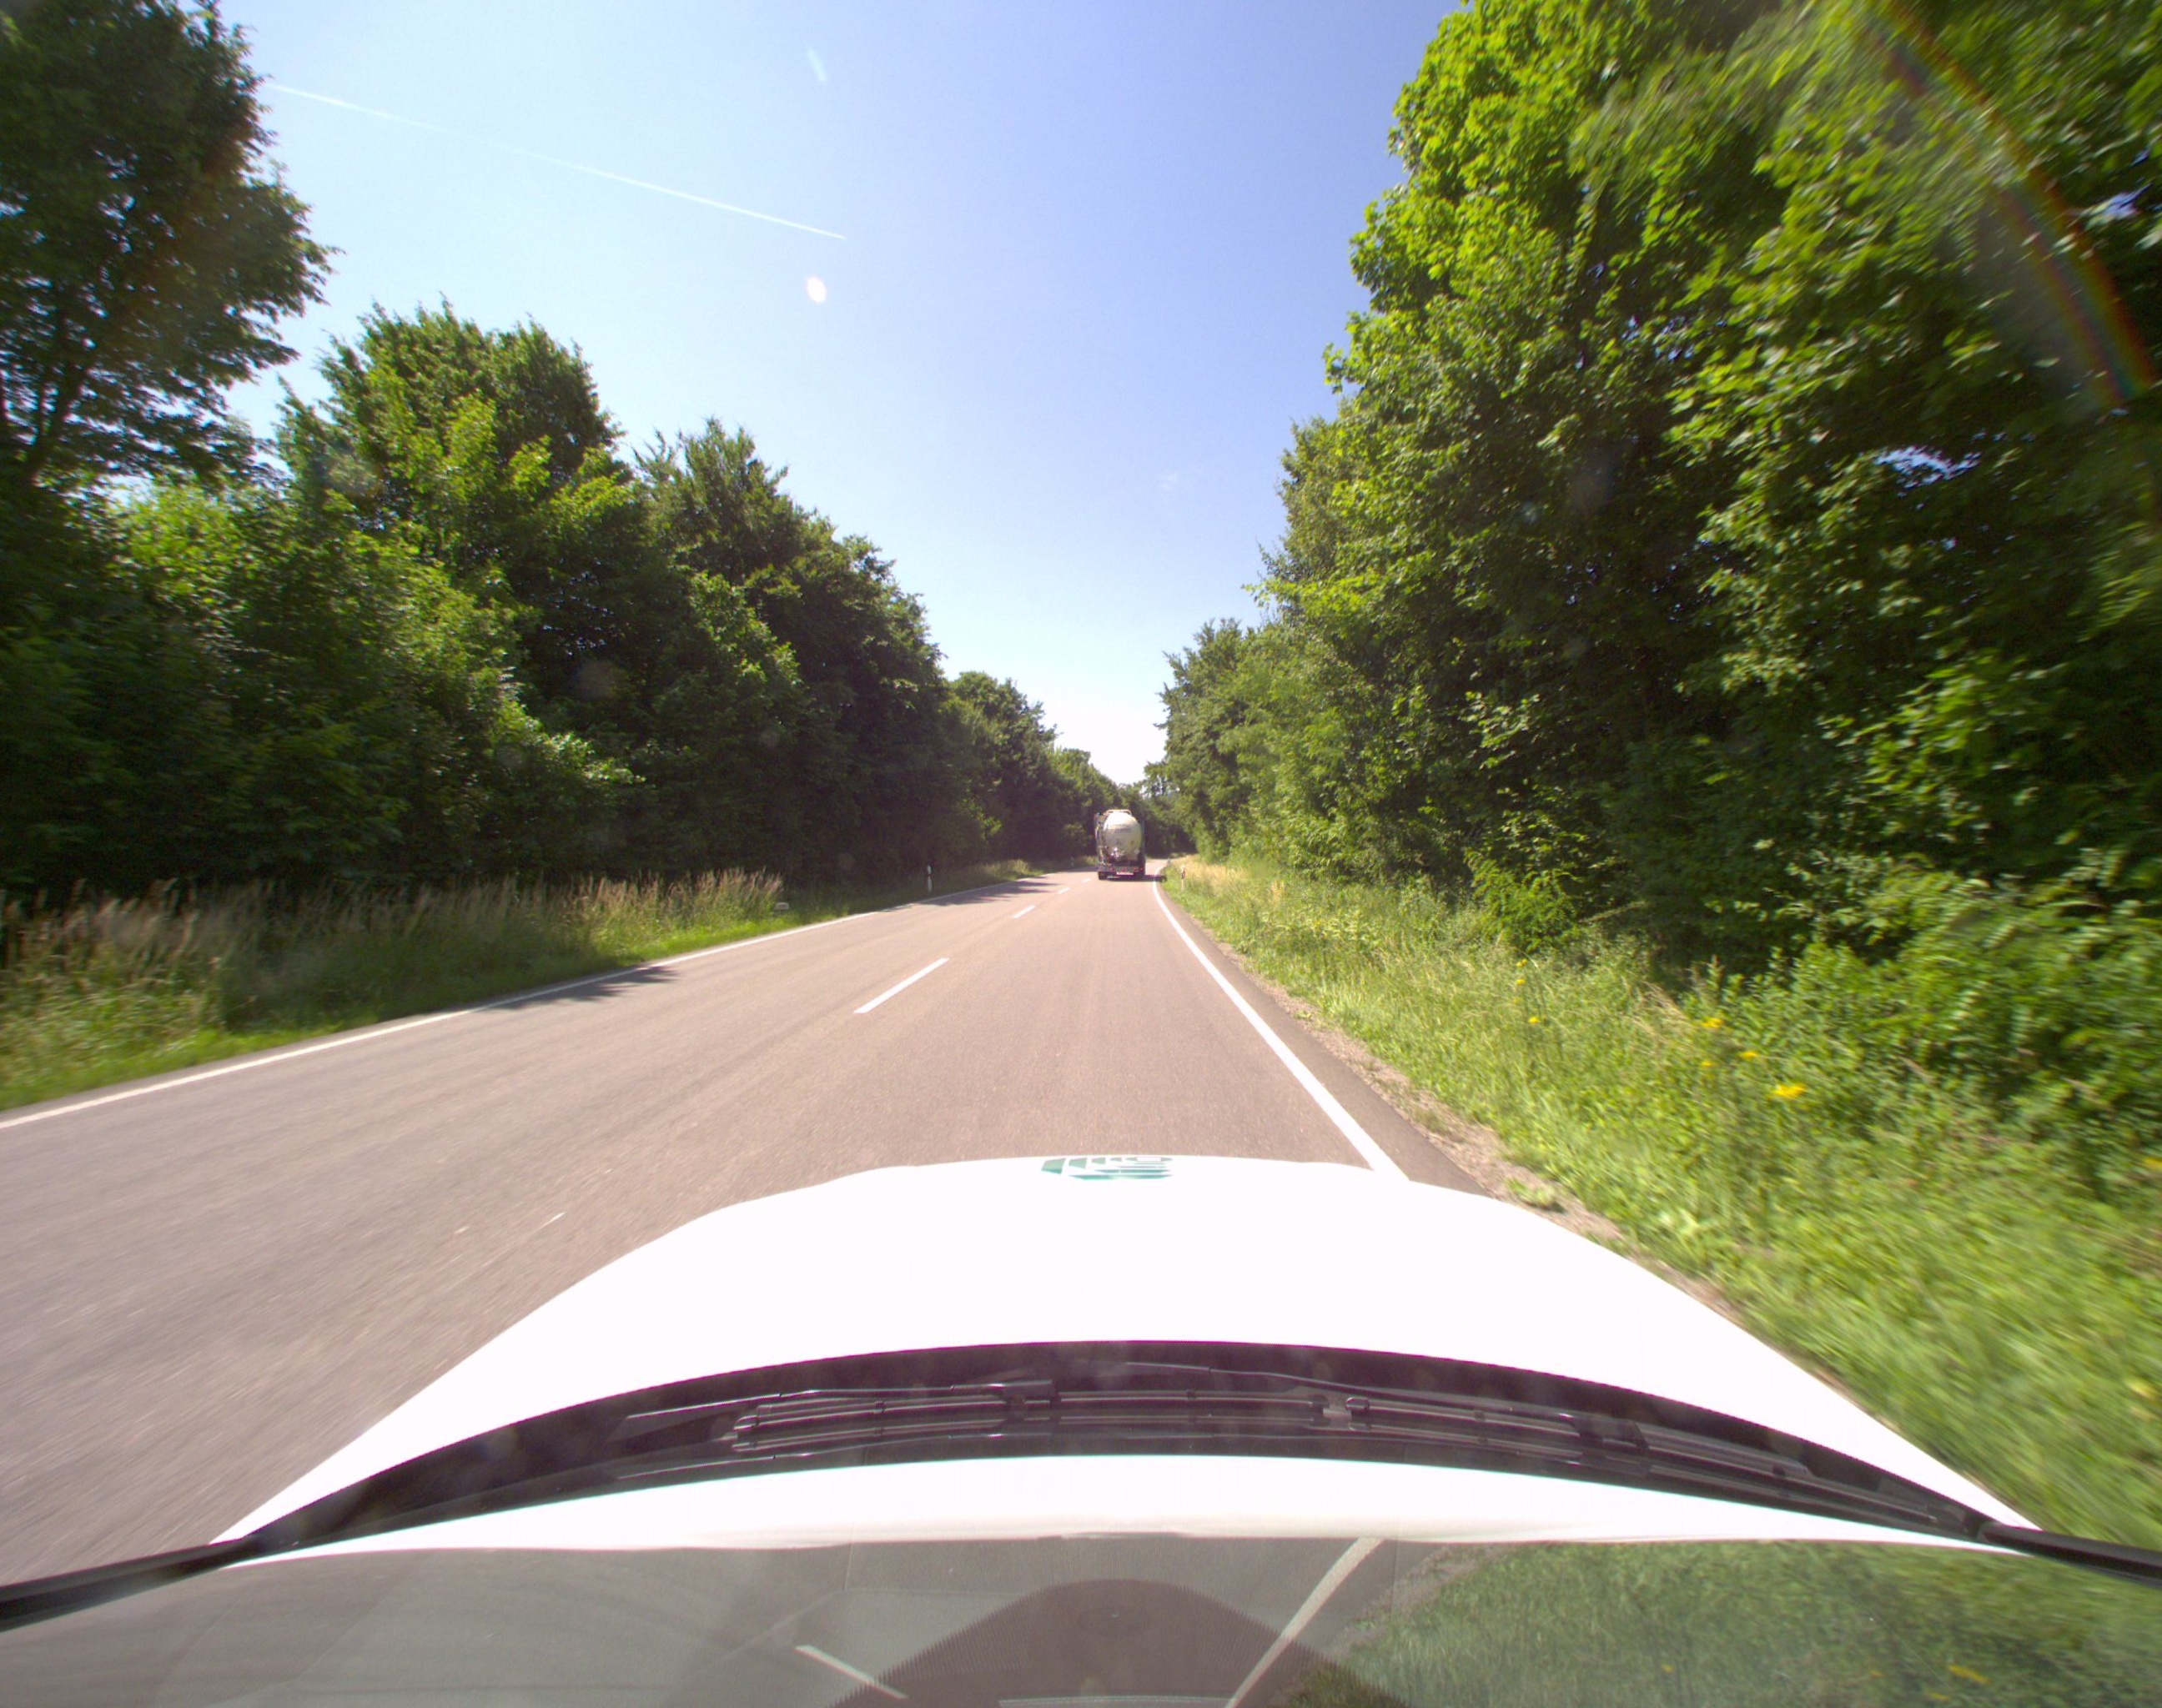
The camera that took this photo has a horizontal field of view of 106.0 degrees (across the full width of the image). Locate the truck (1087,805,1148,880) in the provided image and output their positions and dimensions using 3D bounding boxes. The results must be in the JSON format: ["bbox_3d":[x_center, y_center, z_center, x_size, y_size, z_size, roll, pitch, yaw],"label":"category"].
[{"bbox_3d":[2.608,-0.646,51.776,3.034,3.998,15.659,0,0,5],"label":"truck"}]
